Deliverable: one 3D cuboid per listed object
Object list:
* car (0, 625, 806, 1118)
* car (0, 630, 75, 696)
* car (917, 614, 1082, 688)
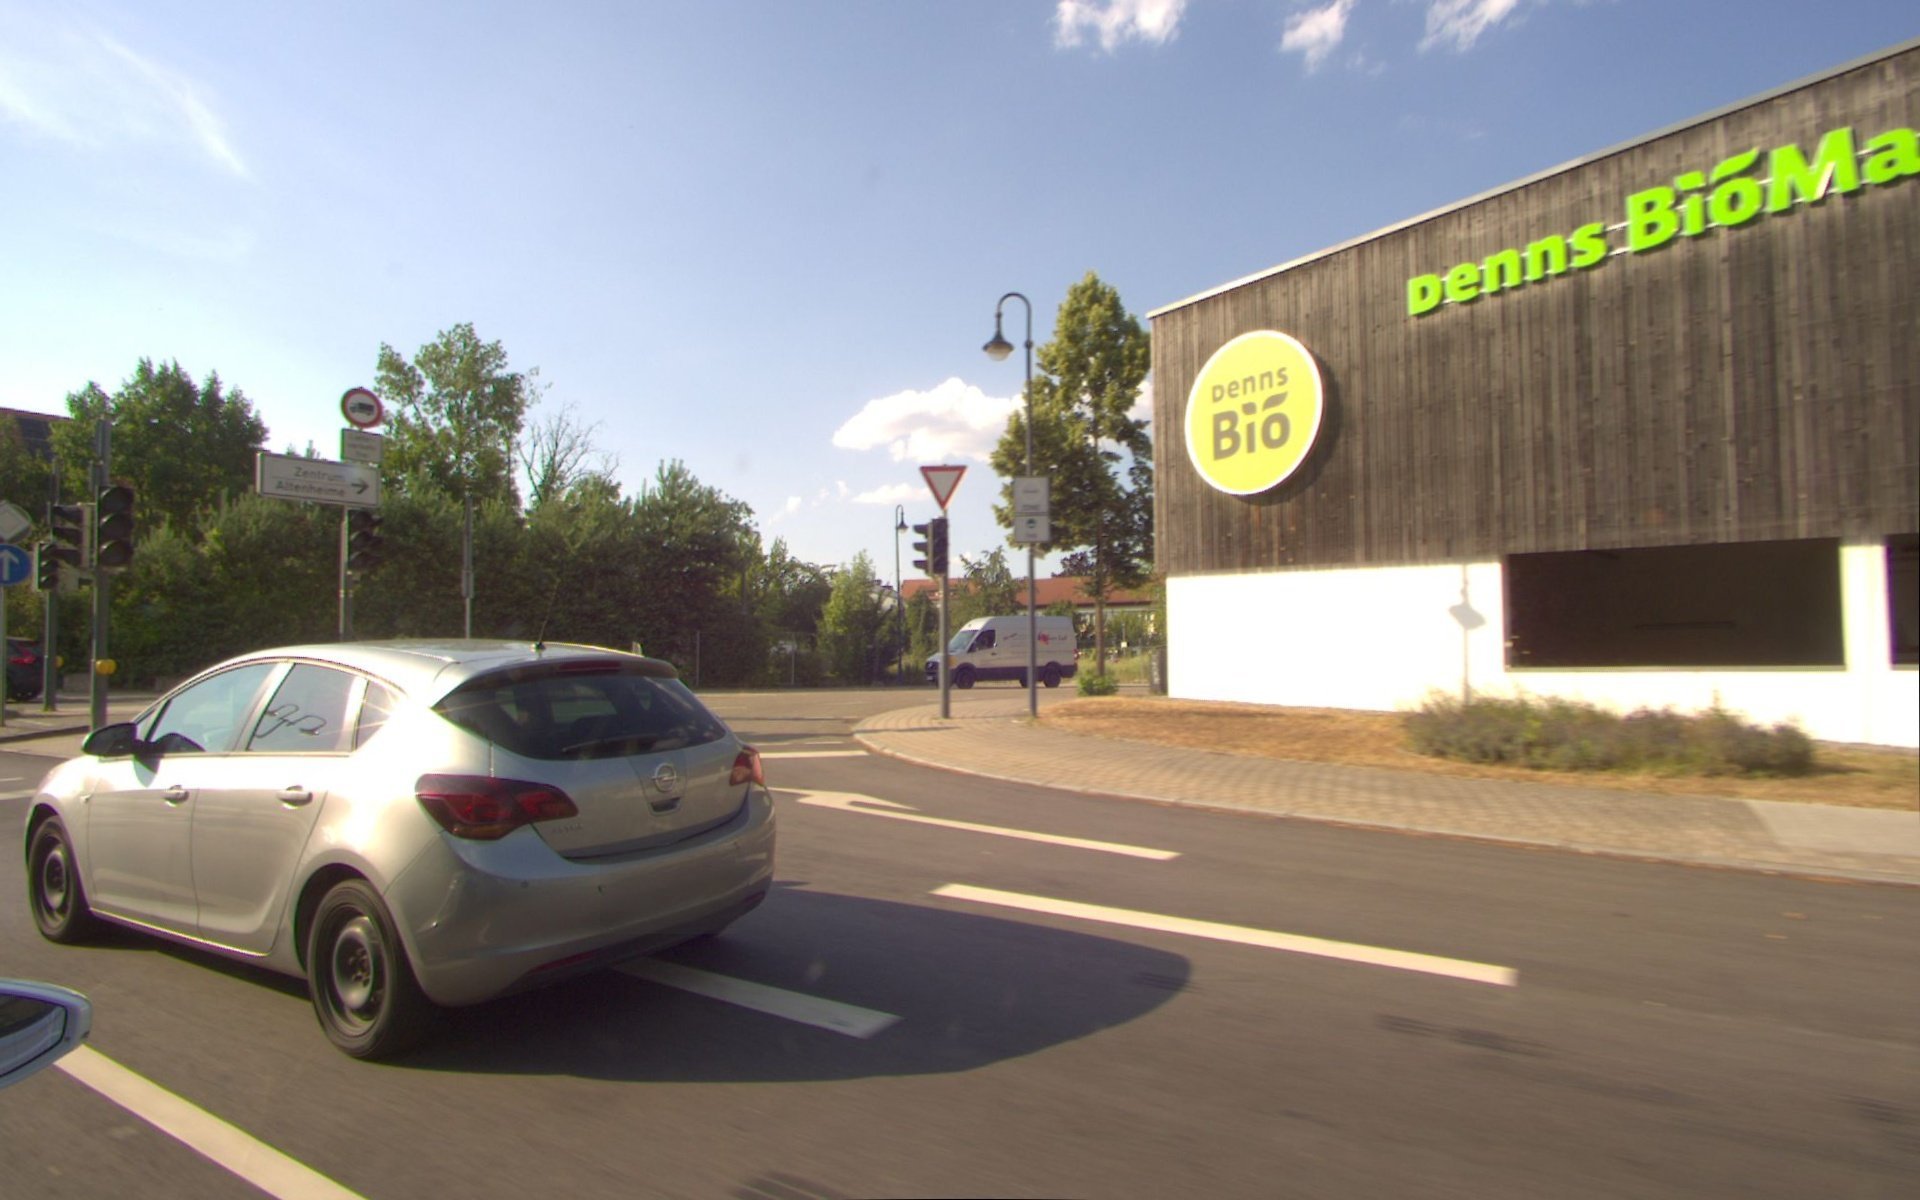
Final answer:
[{"bbox_3d":[-2.956,0.887,4.931,4.243,1.509,1.719,-1,-2,31],"label":"car"},{"bbox_3d":[-24.689,1.526,24.454,4.202,1.587,1.787,1,-2,-23],"label":"car"},{"bbox_3d":[1.482,1.863,36.856,5.771,2.553,2.186,1,-2,-27],"label":"car"}]
